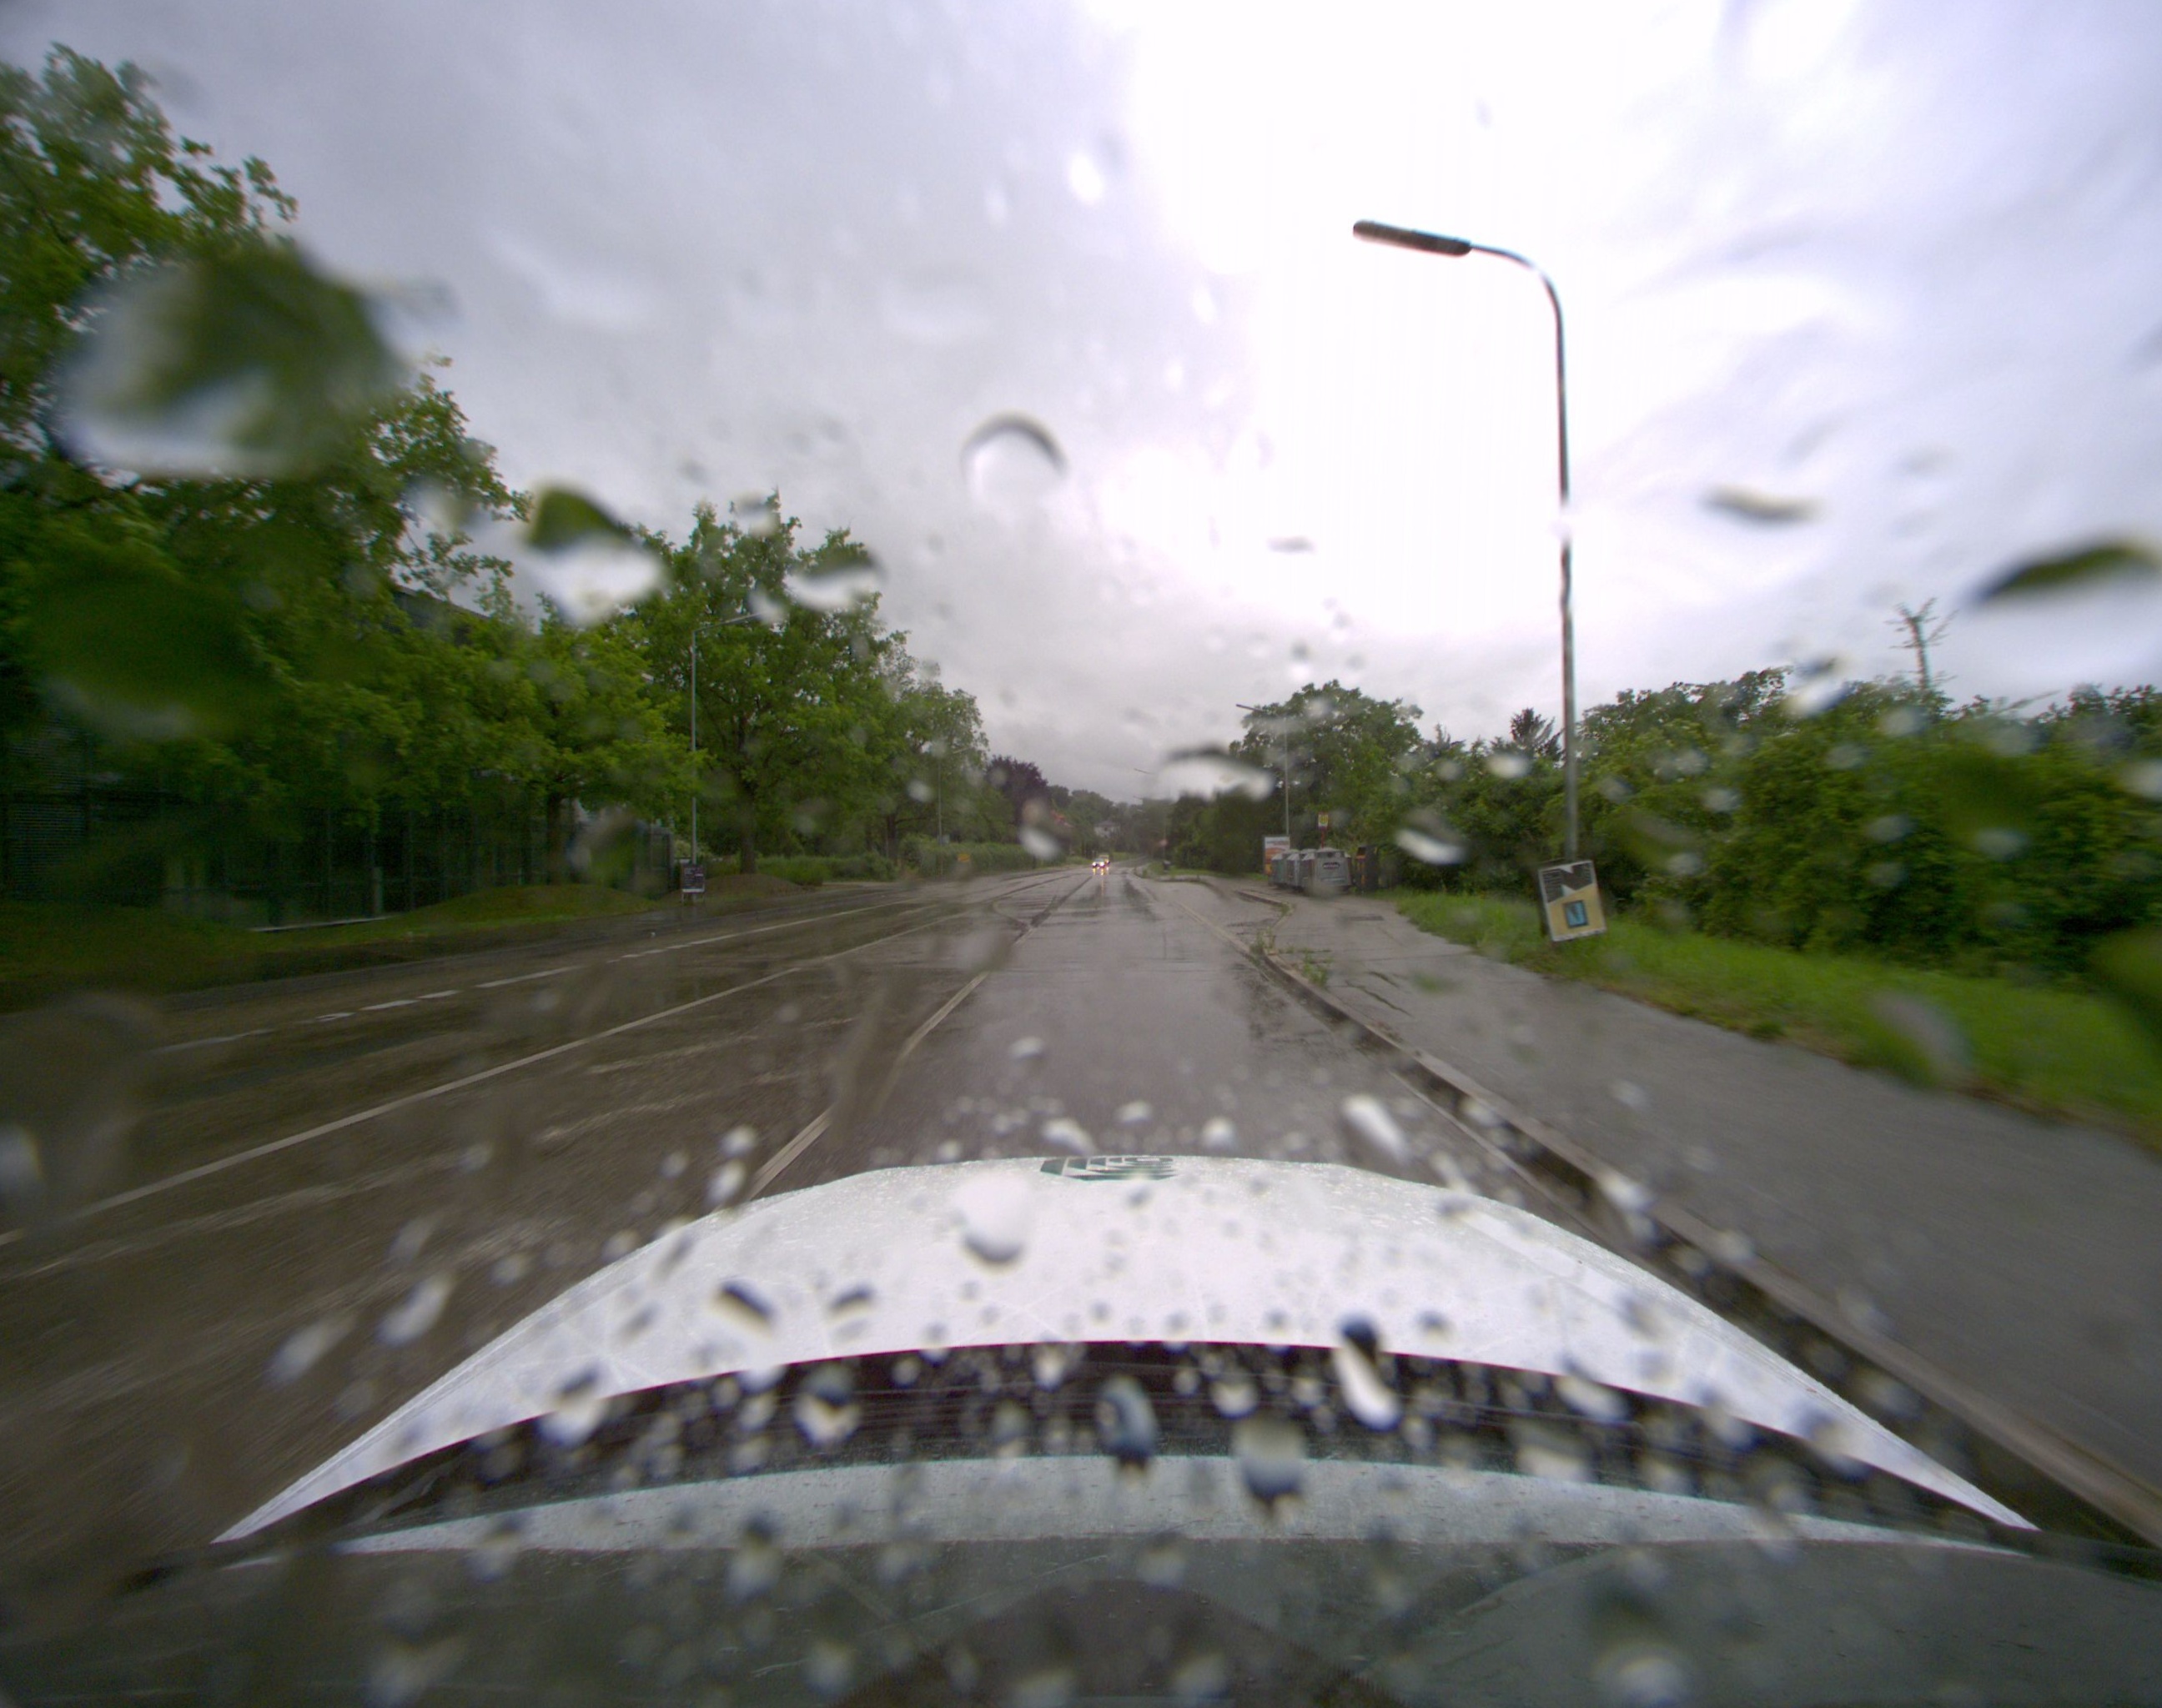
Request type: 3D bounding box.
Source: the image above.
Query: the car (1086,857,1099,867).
[{"bbox_3d":[1.633,1.119,115.763,1.694,1.349,3.909,-1,0,3],"label":"car"}]

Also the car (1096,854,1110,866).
[{"bbox_3d":[3.577,0.900,132.681,1.928,1.871,5.043,-1,0,5],"label":"car"}]
